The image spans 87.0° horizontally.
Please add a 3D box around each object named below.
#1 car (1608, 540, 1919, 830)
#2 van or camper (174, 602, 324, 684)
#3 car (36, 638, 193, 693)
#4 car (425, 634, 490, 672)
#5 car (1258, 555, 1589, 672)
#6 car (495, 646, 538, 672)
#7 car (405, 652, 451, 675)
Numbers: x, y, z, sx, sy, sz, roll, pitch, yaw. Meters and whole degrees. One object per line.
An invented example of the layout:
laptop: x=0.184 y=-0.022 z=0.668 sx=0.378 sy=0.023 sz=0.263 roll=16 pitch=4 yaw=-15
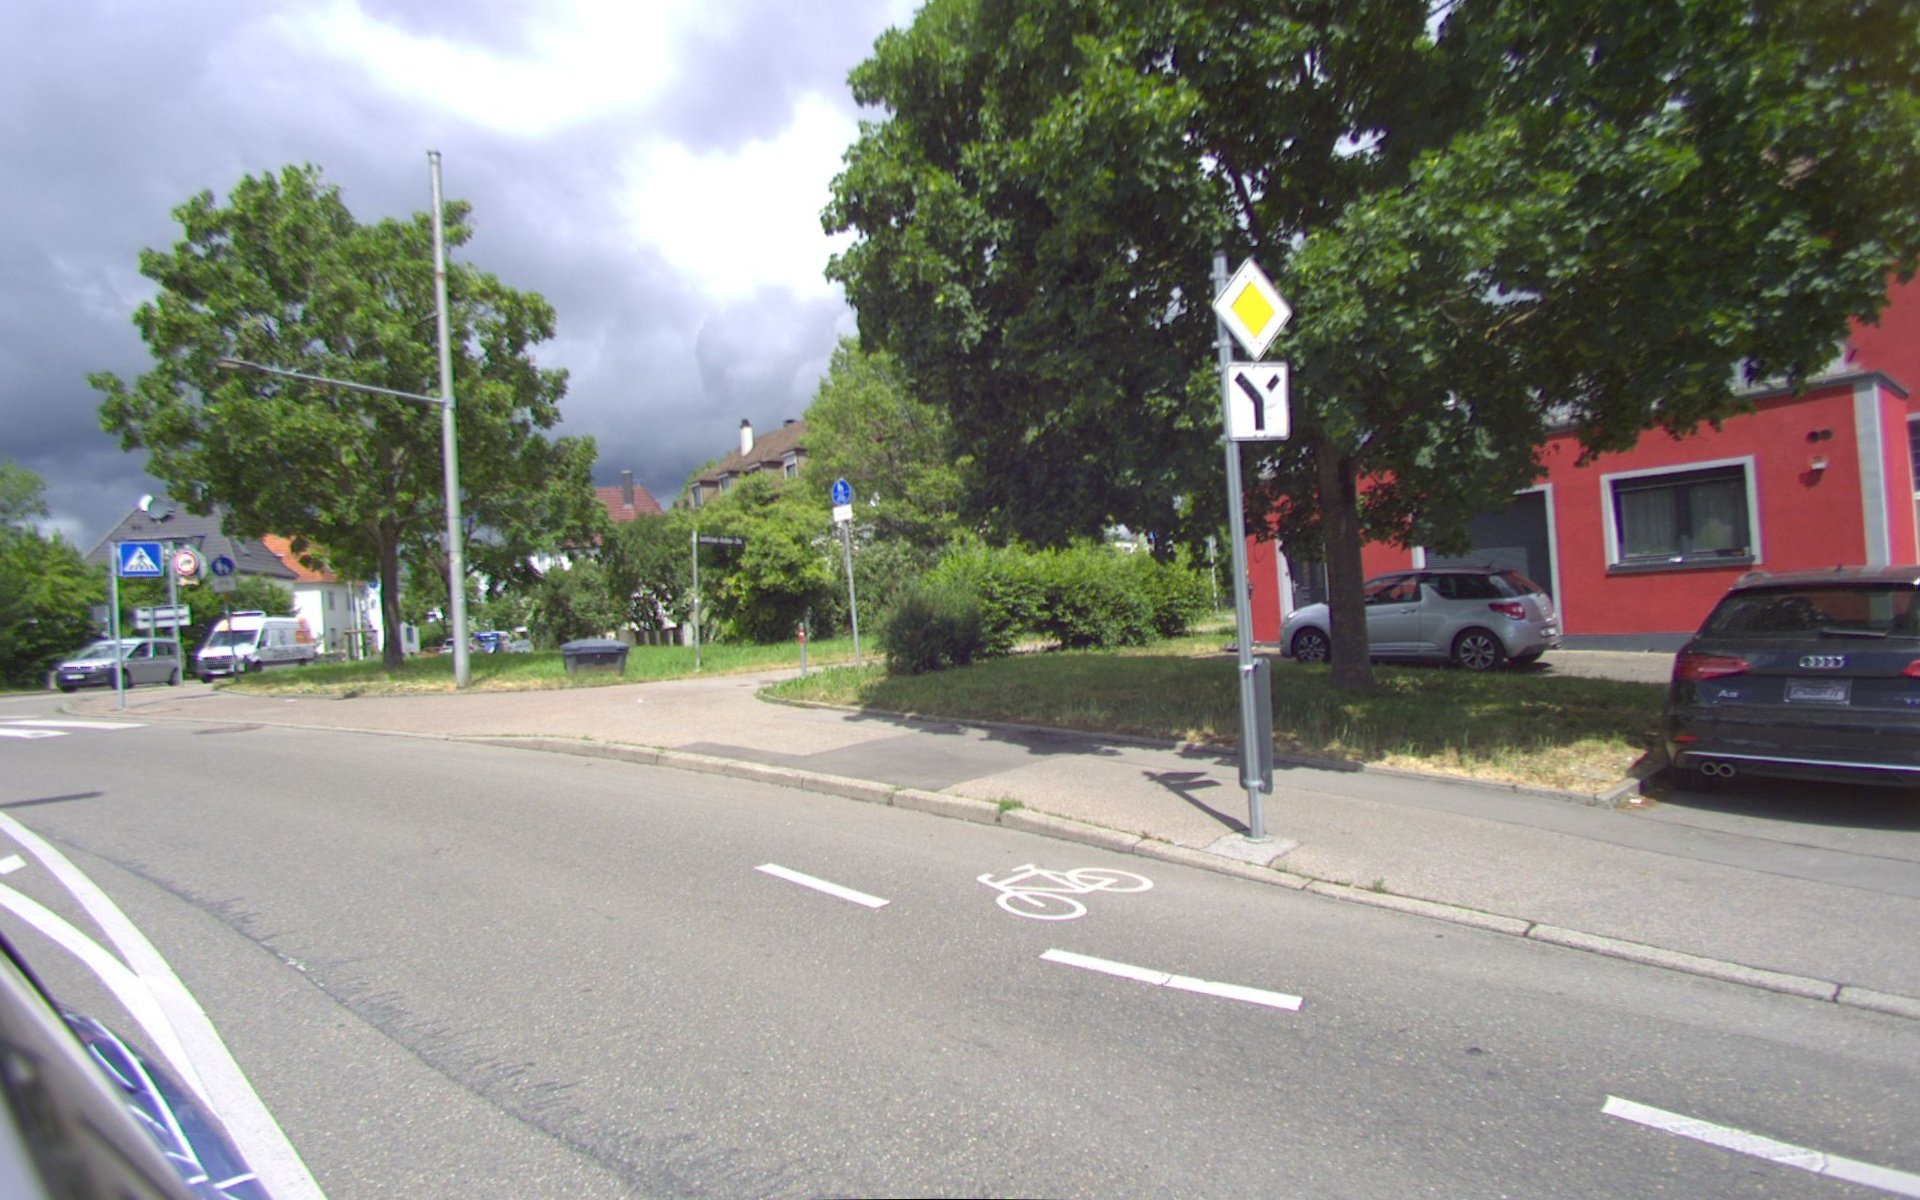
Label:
car: x=6.134 y=0.345 z=6.673 sx=4.080 sy=1.403 sz=2.003 roll=-4 pitch=2 yaw=-40
van or camper: x=-30.100 y=1.998 z=43.288 sx=2.234 sy=3.018 sz=8.346 roll=-4 pitch=-4 yaw=-14
car: x=-28.834 y=2.192 z=34.722 sx=1.970 sy=1.600 sz=4.406 roll=-4 pitch=-2 yaw=-5
car: x=-28.253 y=2.942 z=57.084 sx=2.196 sy=1.821 sz=4.412 roll=-4 pitch=0 yaw=-12
car: x=6.666 y=0.194 z=14.907 sx=1.620 sy=1.436 sz=4.084 roll=-4 pitch=2 yaw=-41
car: x=-32.967 y=4.373 z=75.313 sx=1.967 sy=1.599 sz=4.412 roll=-4 pitch=0 yaw=-12
car: x=-41.806 y=4.959 z=79.613 sx=1.967 sy=1.600 sz=4.412 roll=-4 pitch=-2 yaw=-12
